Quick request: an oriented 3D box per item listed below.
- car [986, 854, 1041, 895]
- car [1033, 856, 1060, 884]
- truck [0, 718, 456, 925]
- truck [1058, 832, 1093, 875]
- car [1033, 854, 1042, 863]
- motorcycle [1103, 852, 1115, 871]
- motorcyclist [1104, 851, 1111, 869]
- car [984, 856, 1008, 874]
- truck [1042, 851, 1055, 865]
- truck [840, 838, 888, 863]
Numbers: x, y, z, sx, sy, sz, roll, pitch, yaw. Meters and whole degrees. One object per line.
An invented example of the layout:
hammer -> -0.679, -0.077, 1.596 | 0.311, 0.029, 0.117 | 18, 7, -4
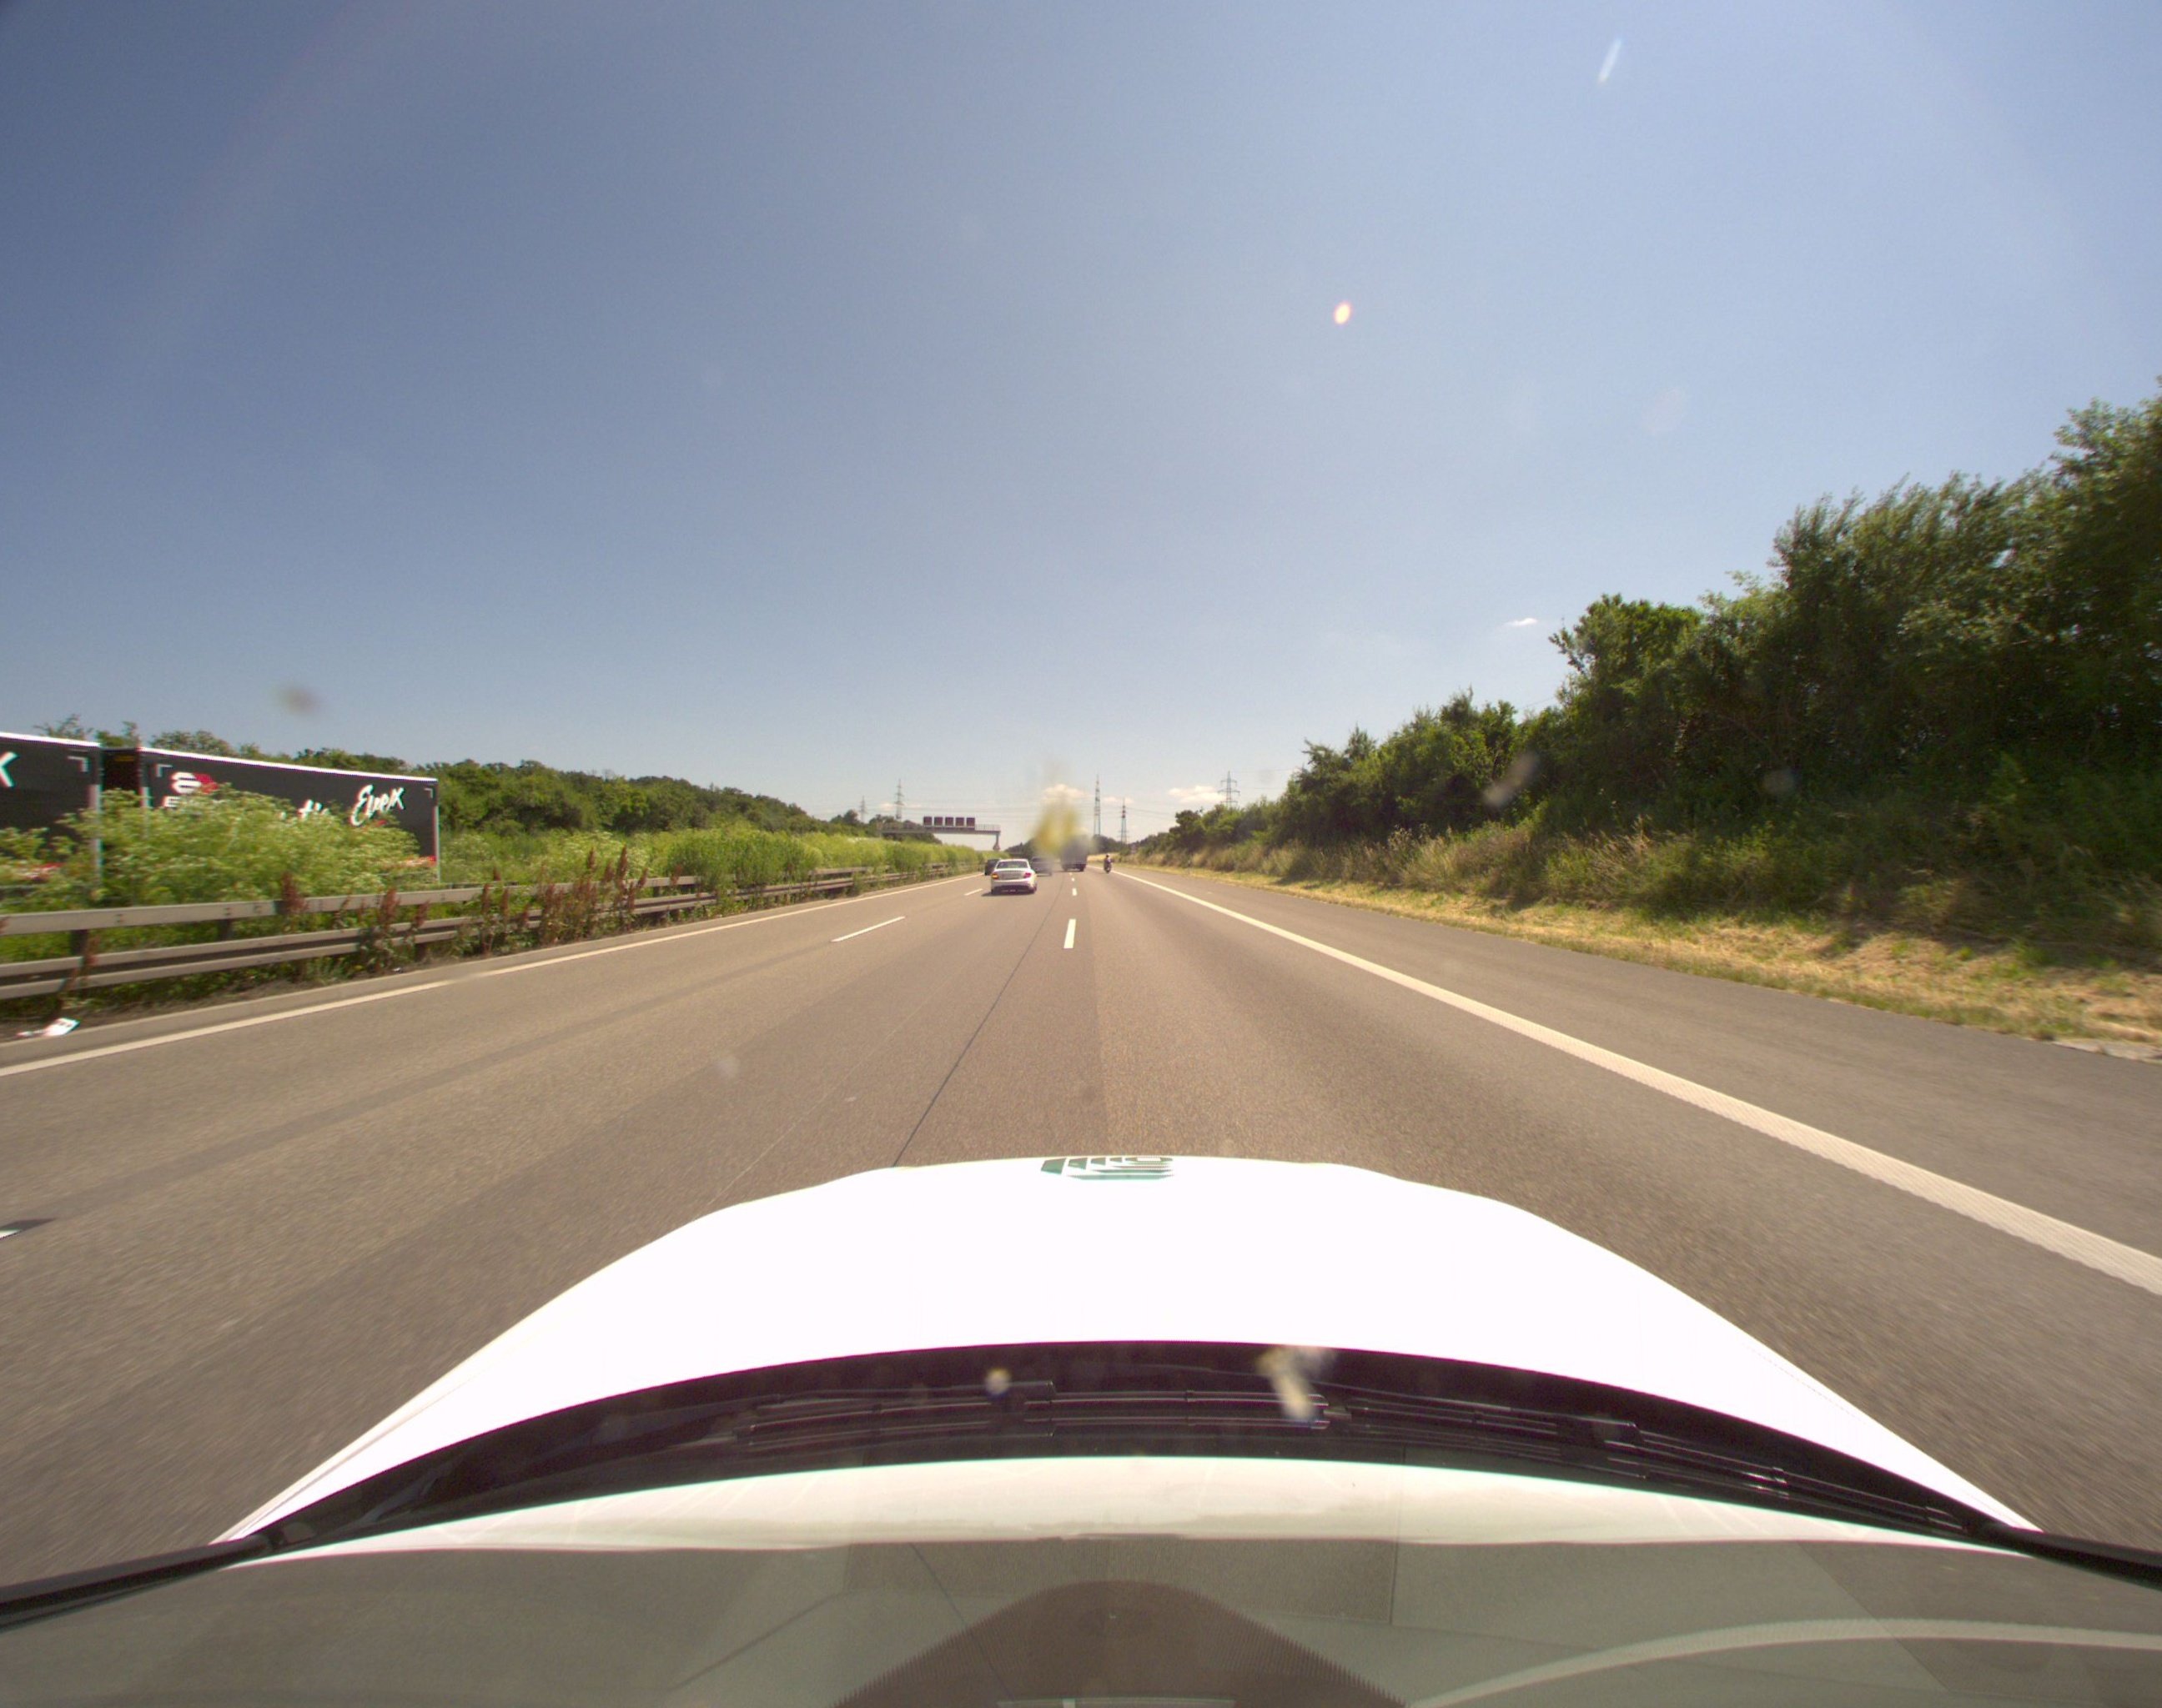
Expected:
car -> -2.719, 0.797, 33.688 | 1.813, 1.540, 3.915 | -2, 0, 1
car -> -2.667, 1.196, 63.184 | 1.988, 2.013, 3.997 | -2, 0, -2
truck -> -20.489, -0.603, 15.537 | 3.221, 3.611, 18.518 | 1, 0, -2
truck -> -0.647, -0.030, 81.061 | 3.212, 3.924, 9.055 | -1, 0, -1
car -> -10.343, 1.057, 192.330 | 1.896, 1.925, 3.999 | -2, 0, 0
motorcycle -> 2.373, 0.673, 69.711 | 0.808, 1.607, 1.780 | -1, -1, -3
motorcyclist -> 2.274, 0.517, 69.737 | 0.571, 1.479, 0.699 | -2, 0, -4
car -> -7.381, 0.953, 70.728 | 1.752, 1.429, 3.997 | -2, 0, -2
truck -> -9.399, 1.185, 234.362 | 3.475, 3.912, 7.284 | -1, 0, -2
truck -> -19.440, -0.321, 73.355 | 2.484, 2.013, 6.795 | -2, 0, -1
